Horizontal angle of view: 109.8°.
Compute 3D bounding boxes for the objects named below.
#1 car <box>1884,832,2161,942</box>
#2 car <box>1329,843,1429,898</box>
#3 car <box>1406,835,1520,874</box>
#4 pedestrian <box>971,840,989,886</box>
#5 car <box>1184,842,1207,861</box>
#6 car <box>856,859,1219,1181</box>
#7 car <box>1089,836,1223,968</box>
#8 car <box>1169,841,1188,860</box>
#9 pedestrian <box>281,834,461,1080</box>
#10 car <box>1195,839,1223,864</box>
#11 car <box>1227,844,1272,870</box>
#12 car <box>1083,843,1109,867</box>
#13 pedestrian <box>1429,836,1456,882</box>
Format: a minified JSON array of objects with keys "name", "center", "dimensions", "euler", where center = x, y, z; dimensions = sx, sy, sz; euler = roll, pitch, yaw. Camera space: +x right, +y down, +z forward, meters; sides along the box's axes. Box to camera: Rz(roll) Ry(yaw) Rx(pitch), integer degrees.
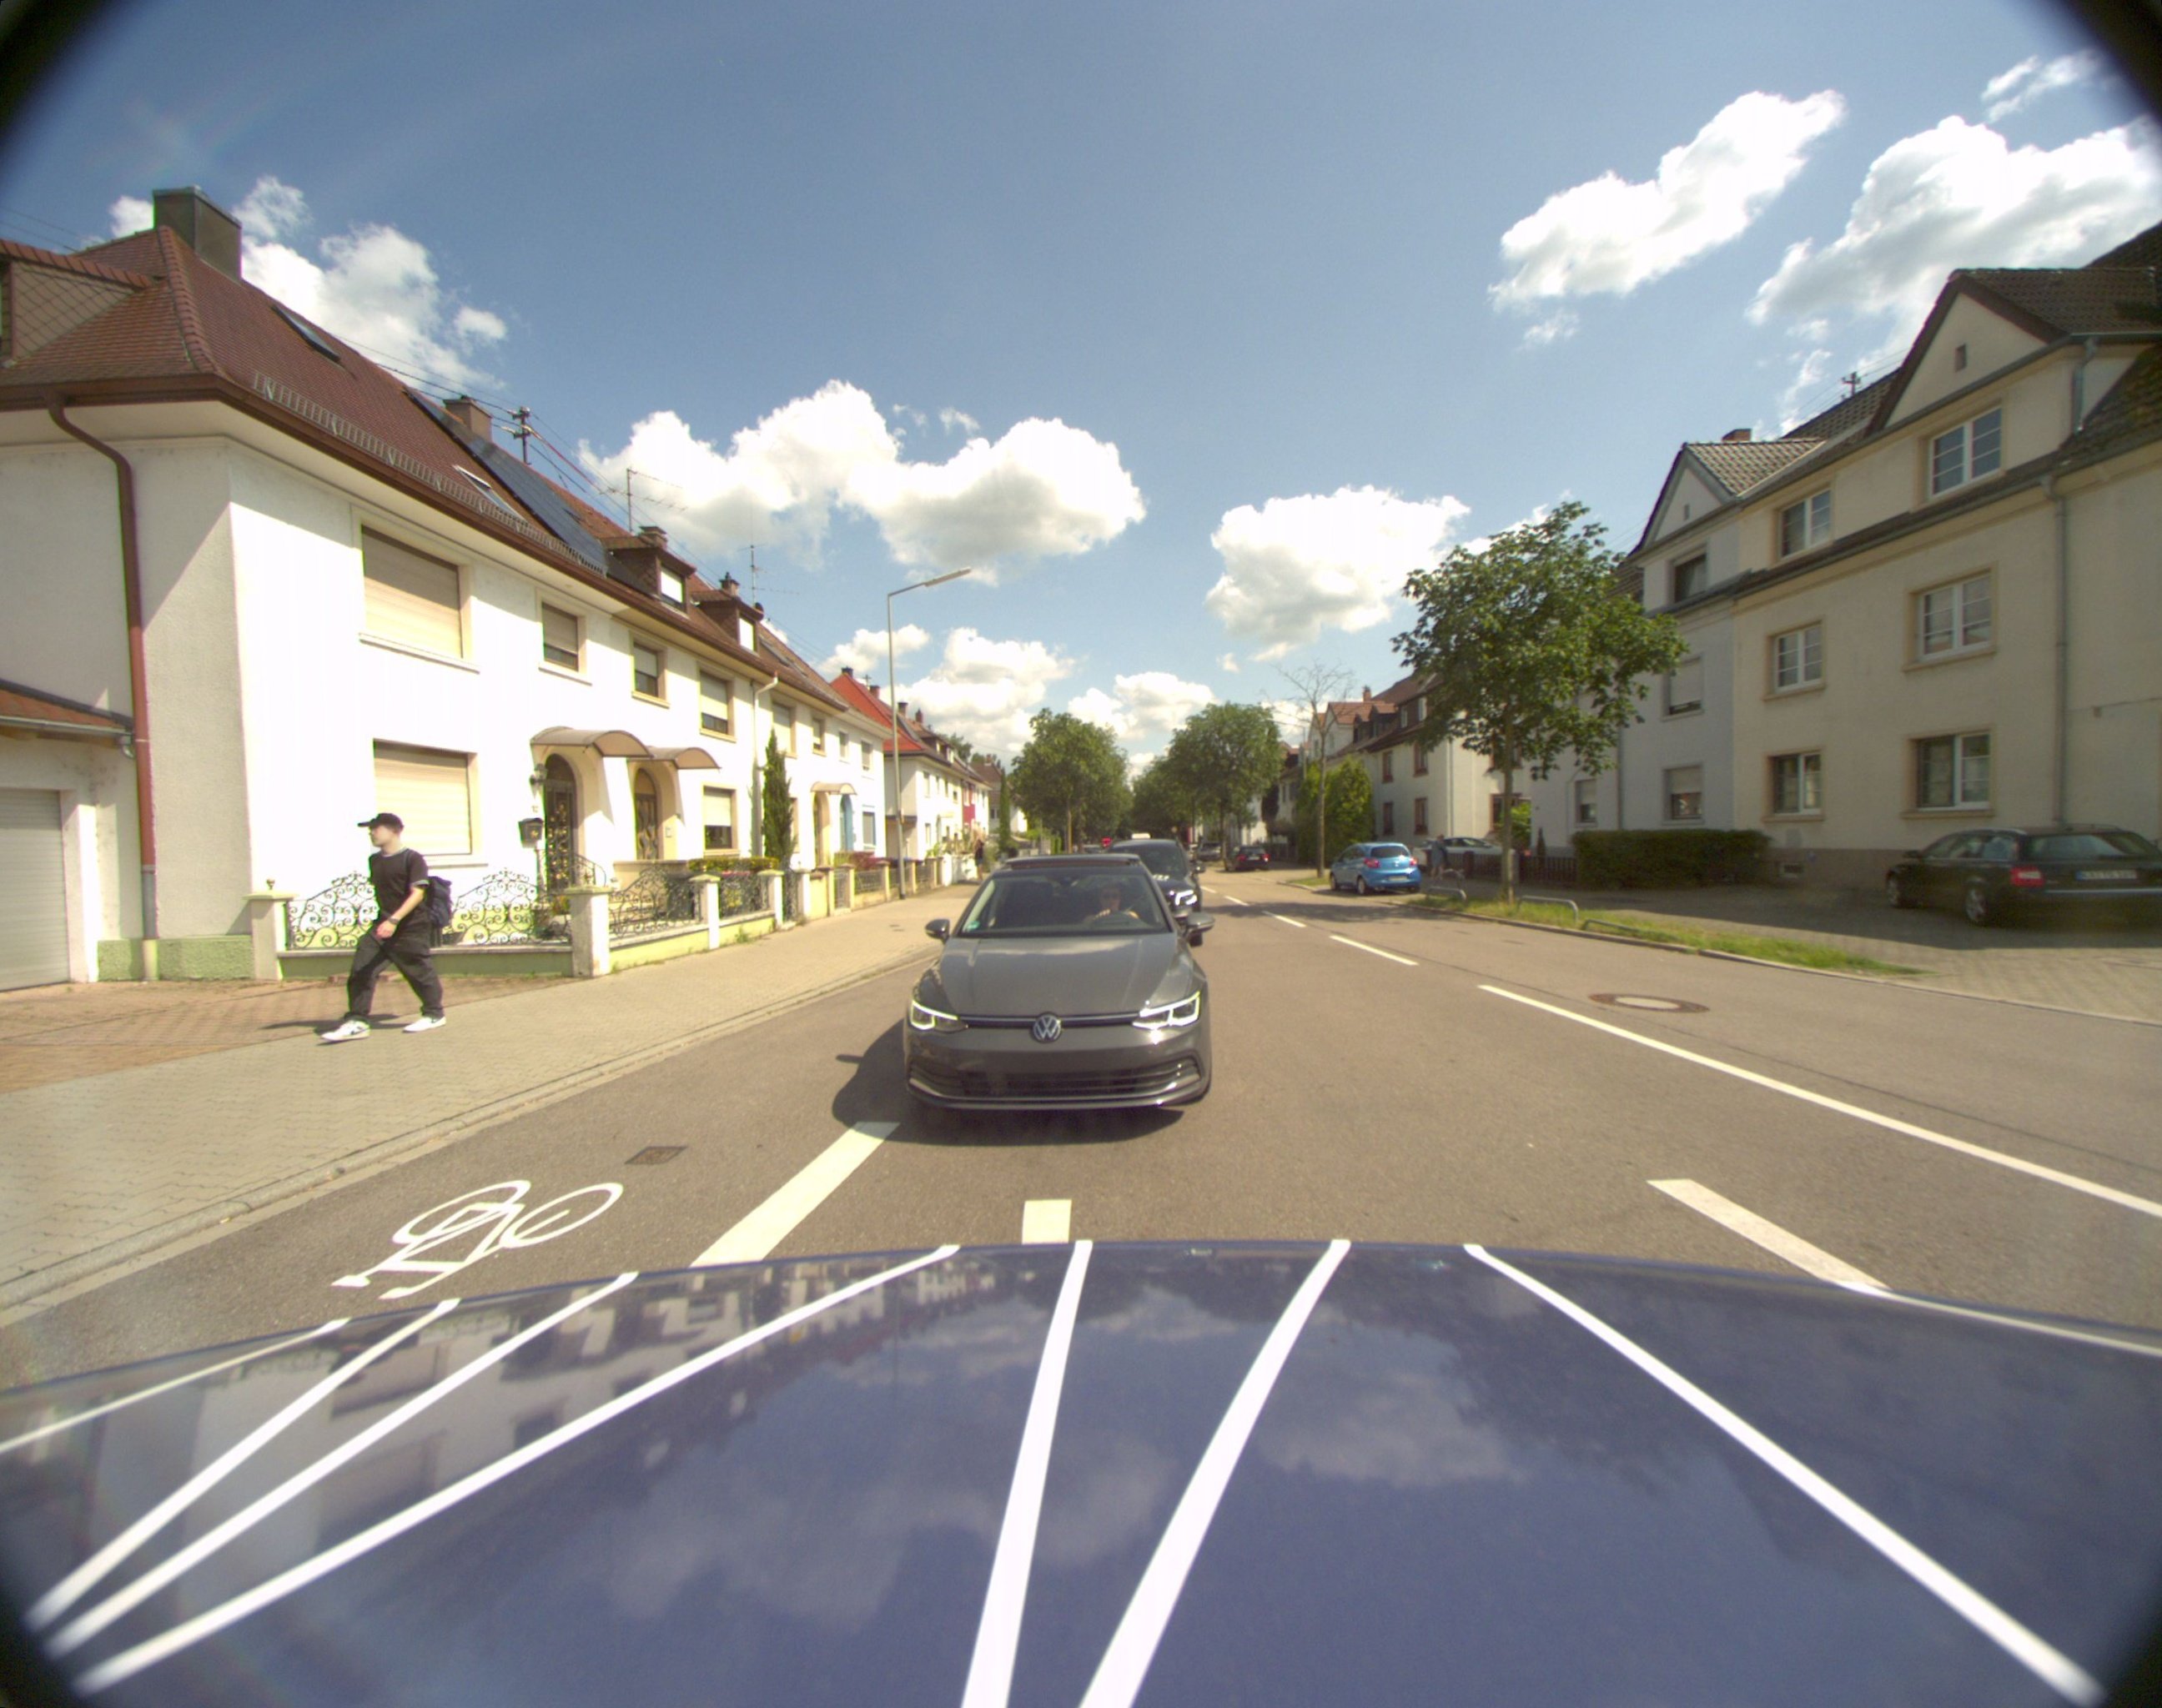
[{"name":"car","center":[14.234,0.381,11.538],"dimensions":[1.757,1.378,4.109],"euler":[-1,1,31]},{"name":"car","center":[8.600,0.428,22.189],"dimensions":[1.709,1.454,3.154],"euler":[-1,1,1]},{"name":"car","center":[15.595,0.010,31.125],"dimensions":[3.805,1.446,1.711],"euler":[-1,1,4]},{"name":"pedestrian","center":[-3.843,0.331,28.957],"dimensions":[0.519,1.701,0.618],"euler":[-1,1,2]},{"name":"car","center":[9.043,-0.224,59.986],"dimensions":[1.623,1.417,3.002],"euler":[-2,1,6]},{"name":"car","center":[-0.247,0.841,6.115],"dimensions":[1.766,1.466,4.686],"euler":[-1,1,-1]},{"name":"car","center":[1.064,0.613,12.686],"dimensions":[1.776,1.754,4.874],"euler":[-1,1,1]},{"name":"car","center":[8.839,-0.349,69.026],"dimensions":[1.562,1.645,3.251],"euler":[-1,1,4]},{"name":"pedestrian","center":[-5.463,0.726,5.916],"dimensions":[0.939,1.758,0.591],"euler":[-2,2,-38]},{"name":"car","center":[9.058,-0.193,53.927],"dimensions":[1.562,1.645,3.574],"euler":[-1,1,4]},{"name":"car","center":[8.809,0.130,39.960],"dimensions":[1.709,1.289,3.918],"euler":[-1,1,4]},{"name":"car","center":[1.004,0.068,50.480],"dimensions":[1.381,1.493,3.002],"euler":[-2,1,6]},{"name":"pedestrian","center":[12.152,0.155,25.546],"dimensions":[0.632,1.527,0.618],"euler":[-1,1,1]}]
